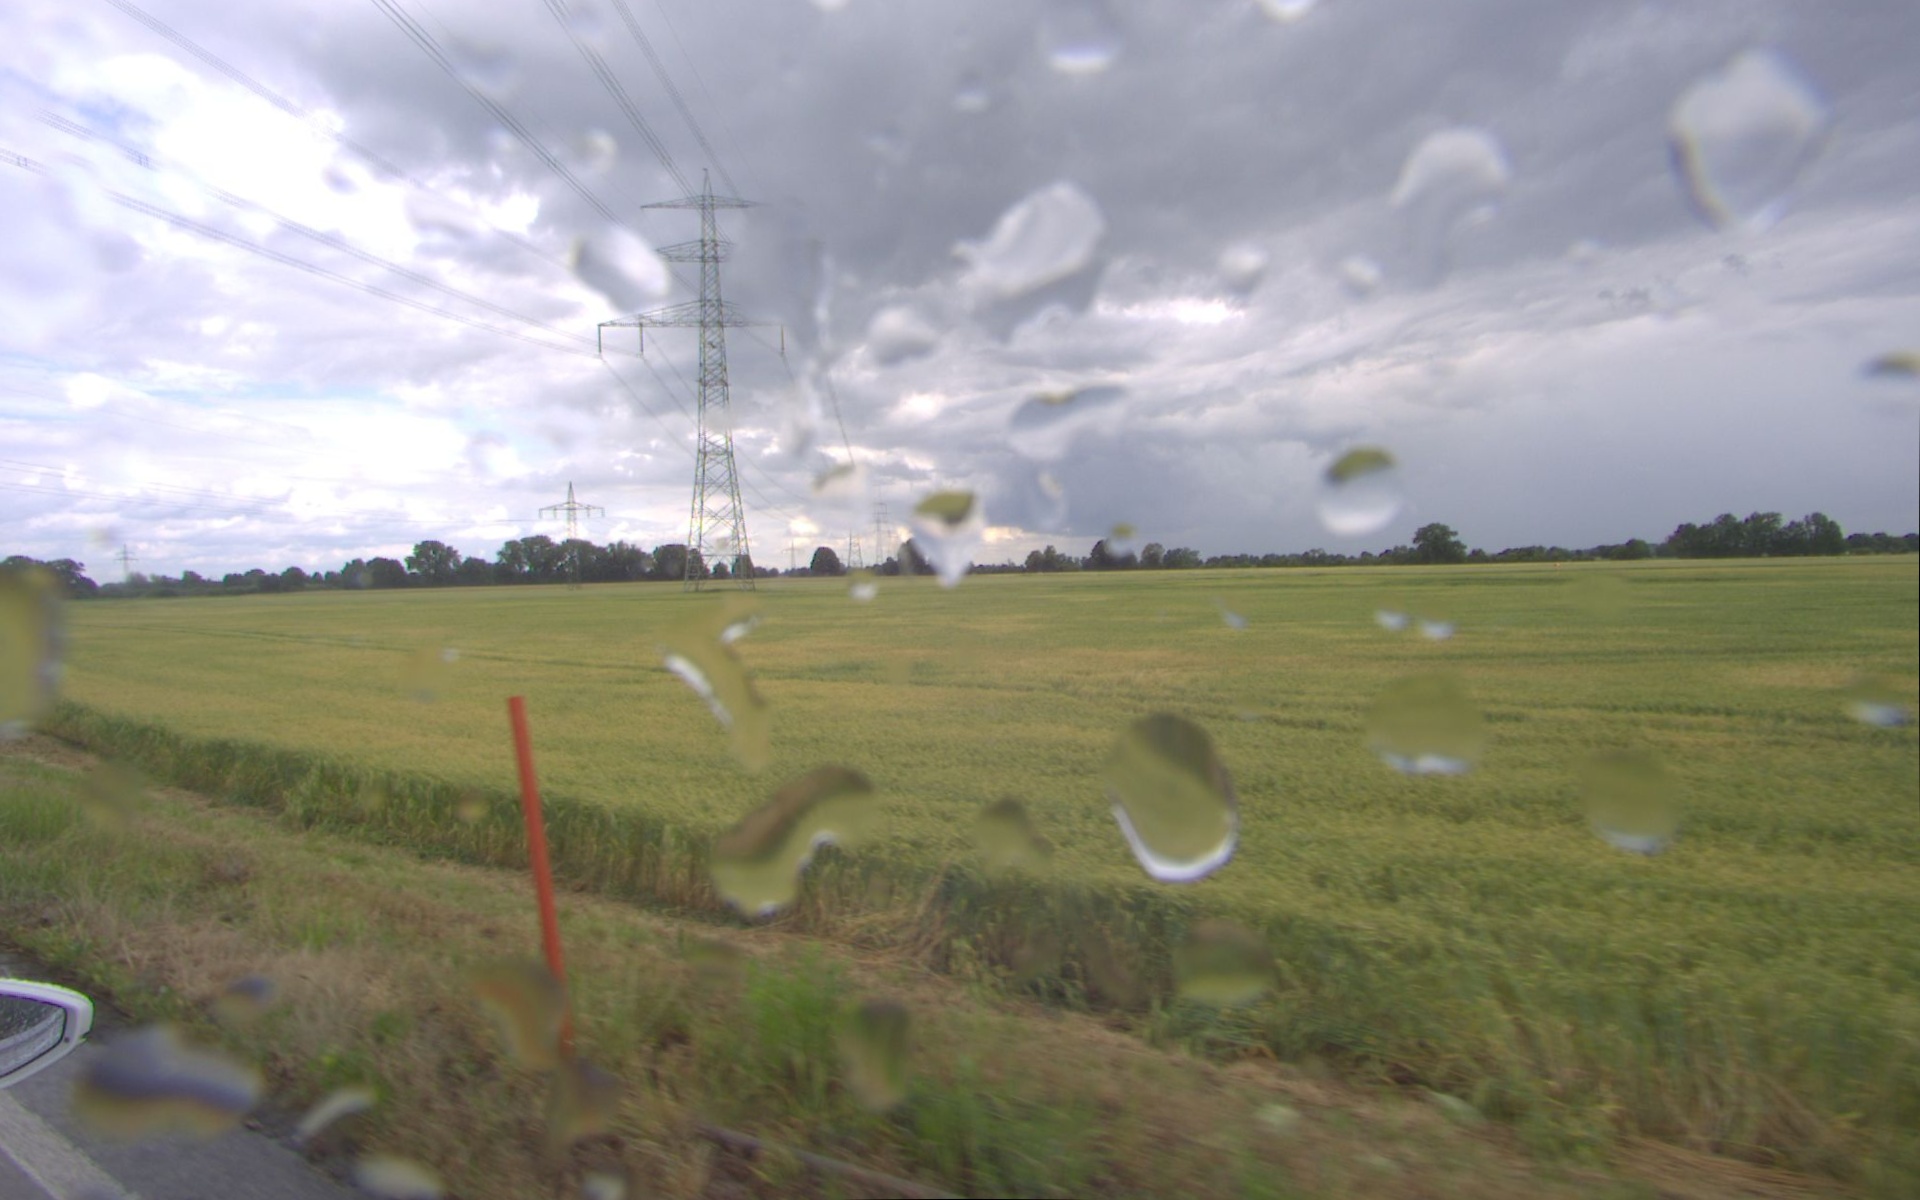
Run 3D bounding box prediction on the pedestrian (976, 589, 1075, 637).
[{"bbox_3d":[2.917,0.617,44.445,3.937,2.039,1.993,-2,-2,27],"label":"pedestrian"}]
